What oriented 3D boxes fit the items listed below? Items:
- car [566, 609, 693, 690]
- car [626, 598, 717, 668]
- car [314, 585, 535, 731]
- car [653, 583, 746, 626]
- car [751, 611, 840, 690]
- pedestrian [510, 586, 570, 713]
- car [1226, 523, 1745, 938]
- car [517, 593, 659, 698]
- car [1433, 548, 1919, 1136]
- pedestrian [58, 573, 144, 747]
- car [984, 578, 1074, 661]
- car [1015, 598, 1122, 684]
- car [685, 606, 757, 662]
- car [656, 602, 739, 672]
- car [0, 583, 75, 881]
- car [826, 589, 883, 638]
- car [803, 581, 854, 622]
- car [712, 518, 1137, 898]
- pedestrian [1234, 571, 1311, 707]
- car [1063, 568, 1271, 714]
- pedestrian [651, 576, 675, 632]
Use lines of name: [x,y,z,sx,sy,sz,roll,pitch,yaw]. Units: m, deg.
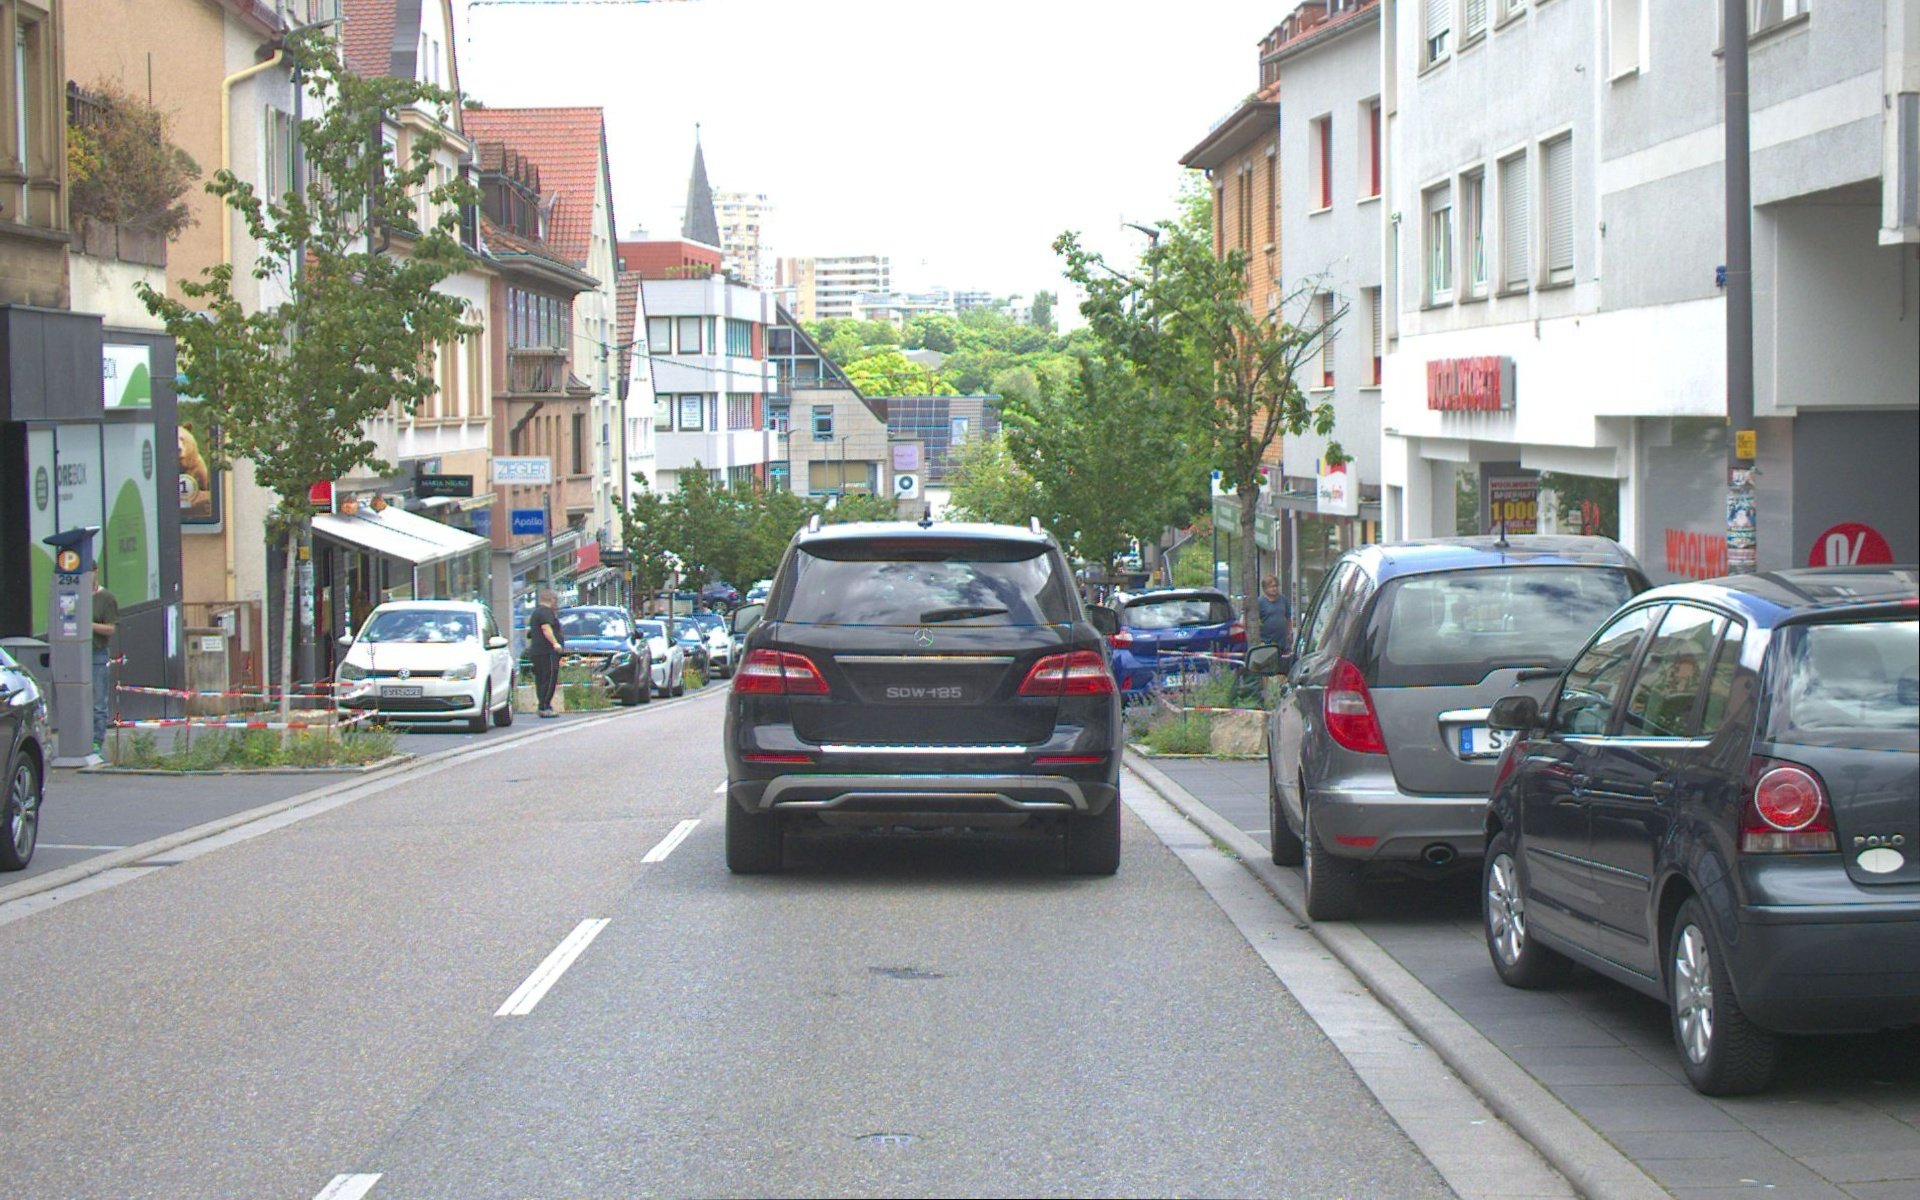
car: [-6.119,0.902,64.126,1.926,1.425,4.262,0,0,0]
car: [-6.504,0.723,77.760,1.926,1.491,4.262,-1,0,-3]
car: [-6.019,0.615,39.091,1.926,1.506,4.262,2,0,-2]
car: [-11.574,0.195,152.791,3.986,1.744,2.000,-3,0,-4]
car: [-3.612,1.095,75.247,1.819,1.612,4.136,-2,-1,-3]
pedestrian: [-5.564,0.651,45.590,0.737,1.666,0.863,0,0,-3]
car: [2.255,0.505,15.686,1.748,1.602,3.800,-2,0,0]
car: [-6.047,0.737,56.354,1.926,1.616,4.640,1,0,-2]
car: [2.763,0.600,10.918,1.748,1.503,3.875,-2,0,-3]
pedestrian: [-7.351,0.509,29.435,0.491,1.458,0.559,2,0,9]
car: [1.645,0.441,83.755,1.938,1.885,4.707,-2,0,-1]
car: [2.064,0.764,66.254,1.748,1.460,4.075,-4,1,-1]
car: [-7.031,0.984,101.484,1.926,1.491,4.262,2,0,-2]
car: [-6.467,0.889,85.056,1.926,1.590,4.458,2,0,-4]
car: [-5.762,0.656,16.374,1.926,1.487,4.843,2,0,-2]
car: [-3.823,0.473,124.783,1.992,1.712,4.447,-1,1,-1]
car: [-5.430,0.042,142.483,1.926,1.623,4.262,2,0,0]
car: [-0.171,0.467,17.914,1.943,1.734,4.179,0,1,0]
pedestrian: [3.689,0.455,40.635,0.756,1.555,0.817,-2,0,-3]
car: [2.306,0.483,39.219,1.748,1.493,3.800,-3,-1,-5]
pedestrian: [-8.775,0.112,101.629,0.641,1.662,0.720,0,0,-1]
